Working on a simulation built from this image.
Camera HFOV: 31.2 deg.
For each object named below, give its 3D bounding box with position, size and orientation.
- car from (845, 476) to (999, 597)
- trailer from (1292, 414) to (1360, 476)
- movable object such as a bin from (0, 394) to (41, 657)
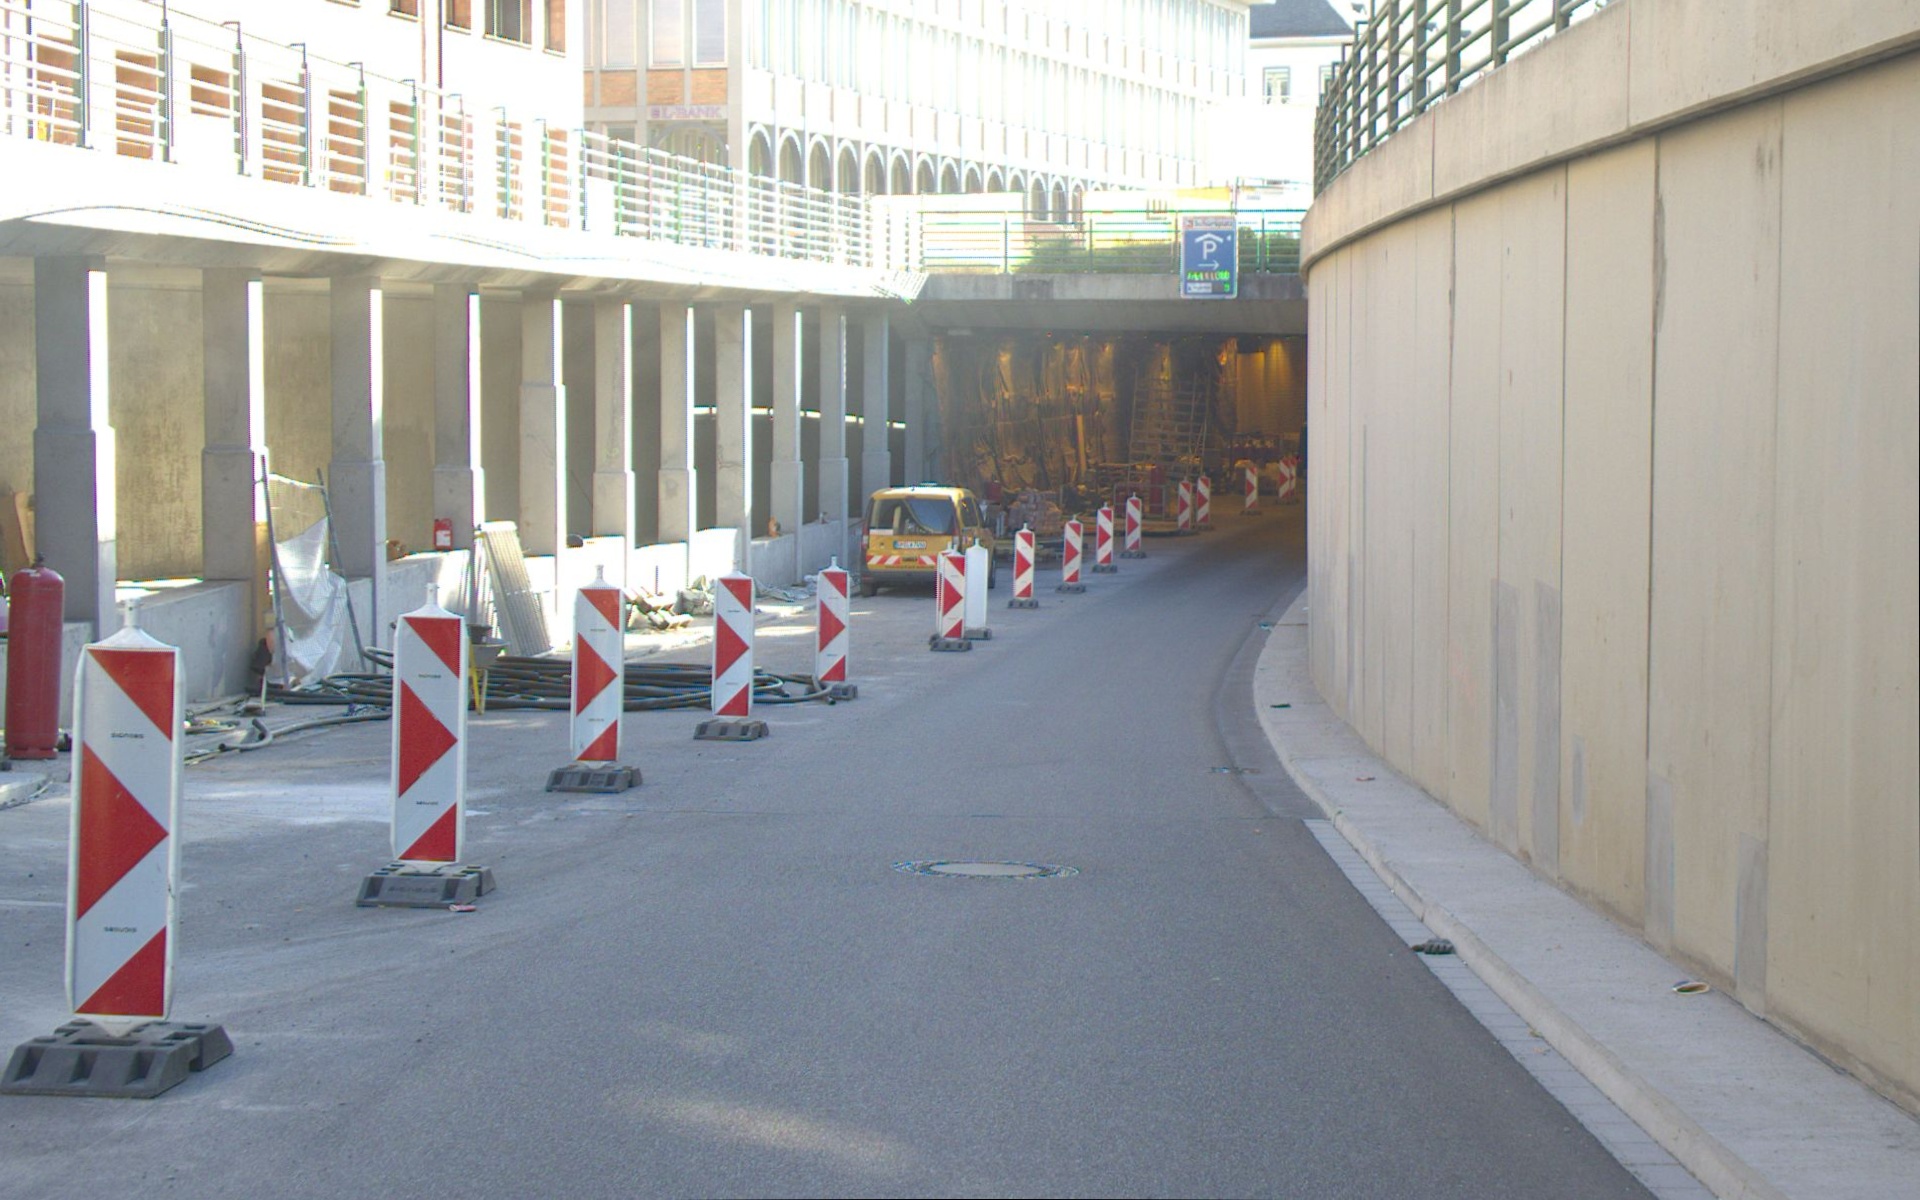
[{"bbox_3d":[-0.586,-1.092,57.117,1.849,1.769,4.433,2,4,8],"label":"car"},{"bbox_3d":[11.352,-4.804,106.417,1.582,1.791,2.938,3,4,15],"label":"trailer"},{"bbox_3d":[-8.187,-0.564,25.430,1.885,1.980,3.159,1,2,1],"label":"movable object such as a bin"}]
